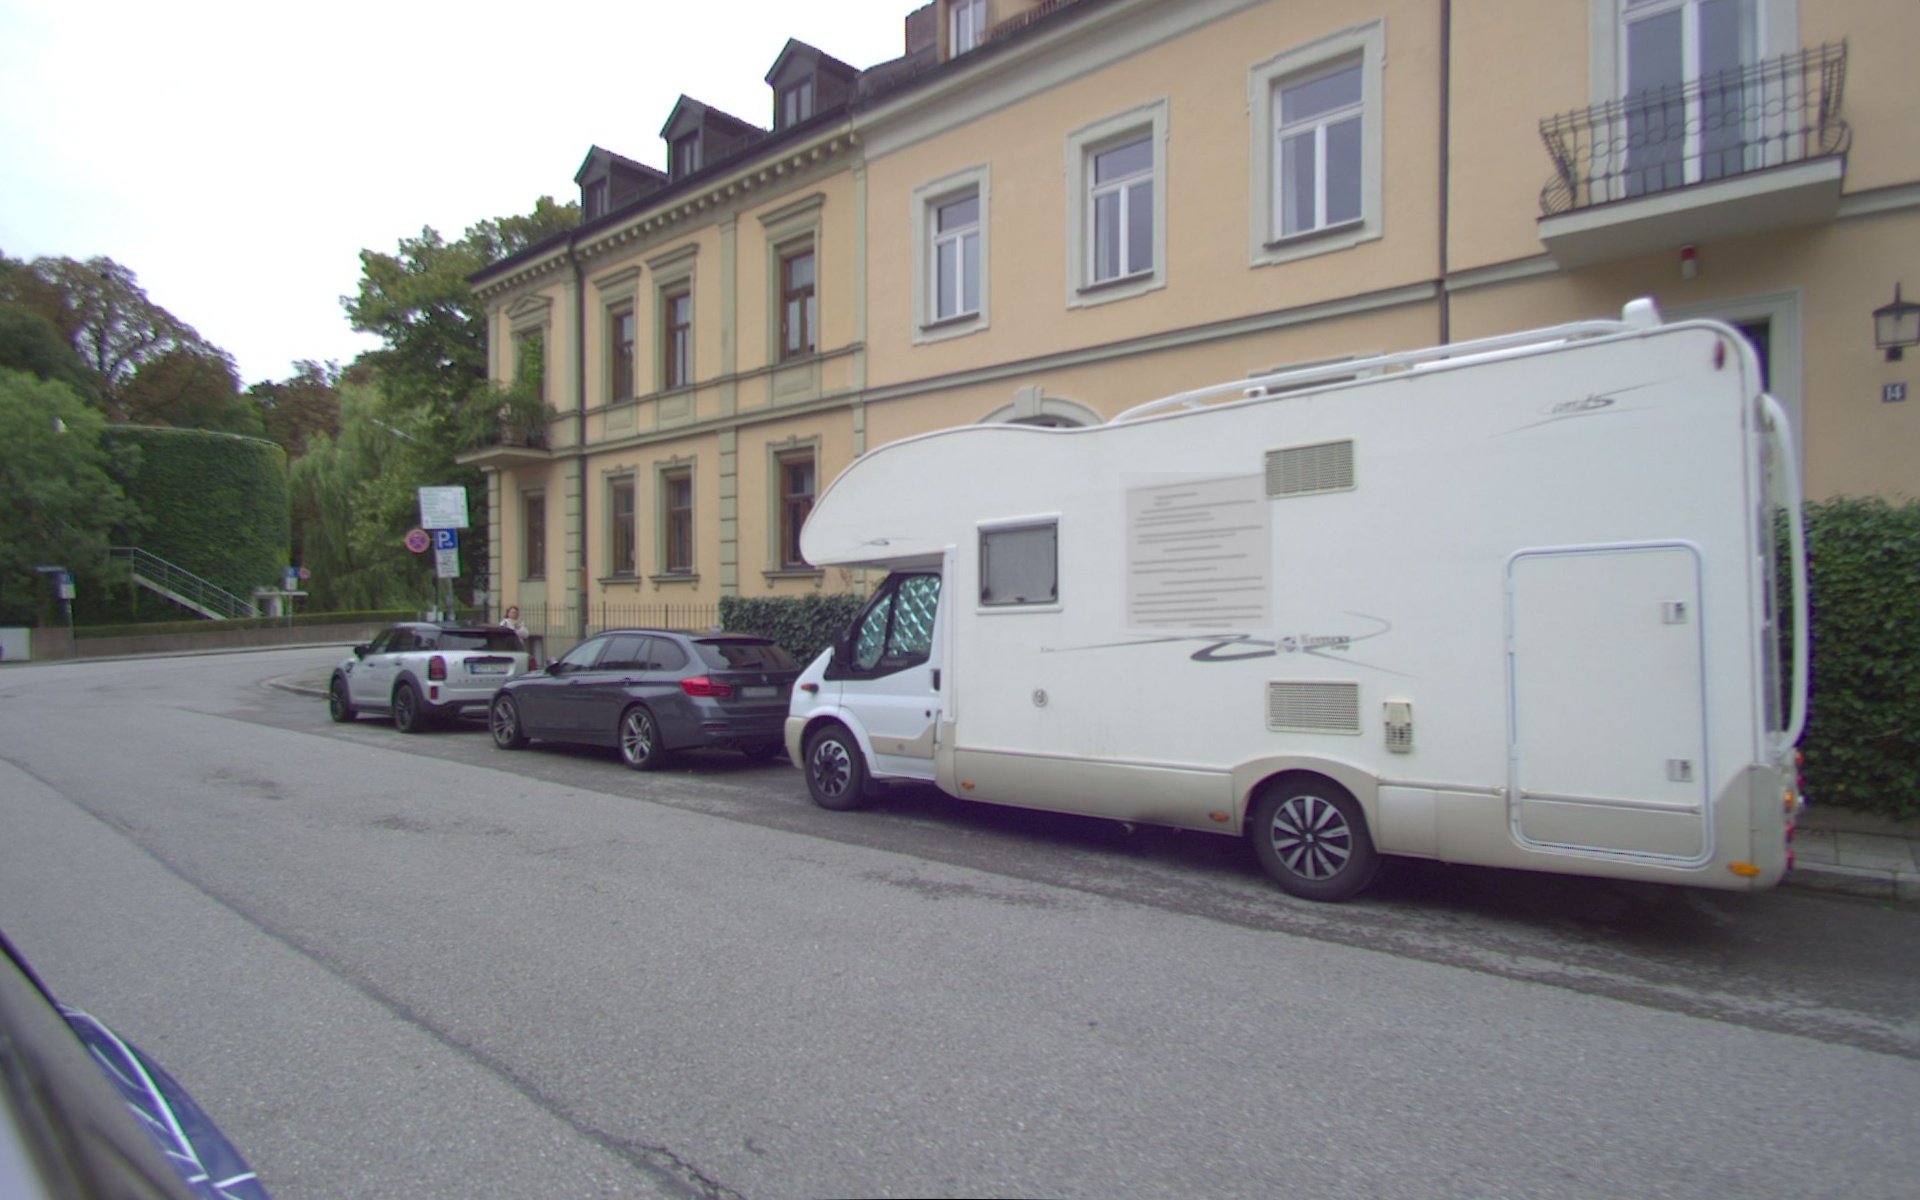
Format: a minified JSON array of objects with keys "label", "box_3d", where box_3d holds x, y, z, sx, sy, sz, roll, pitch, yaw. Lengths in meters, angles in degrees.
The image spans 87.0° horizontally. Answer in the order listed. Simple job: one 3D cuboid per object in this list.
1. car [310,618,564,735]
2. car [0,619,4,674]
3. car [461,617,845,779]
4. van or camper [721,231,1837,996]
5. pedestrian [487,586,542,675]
[{"label":"car","box_3d":[-8.168,1.092,15.628,4.528,1.547,1.915,-1,-3,41]},{"label":"car","box_3d":[-31.024,1.505,29.420,1.979,1.706,4.319,-5,-2,11]},{"label":"car","box_3d":[-3.722,0.996,11.799,4.817,1.520,1.916,-1,-3,39]},{"label":"van or camper","box_3d":[1.456,0.129,7.231,7.208,2.963,2.429,-1,-3,42]},{"label":"pedestrian","box_3d":[-8.372,0.559,19.000,0.739,1.615,0.647,-2,0,39]}]
